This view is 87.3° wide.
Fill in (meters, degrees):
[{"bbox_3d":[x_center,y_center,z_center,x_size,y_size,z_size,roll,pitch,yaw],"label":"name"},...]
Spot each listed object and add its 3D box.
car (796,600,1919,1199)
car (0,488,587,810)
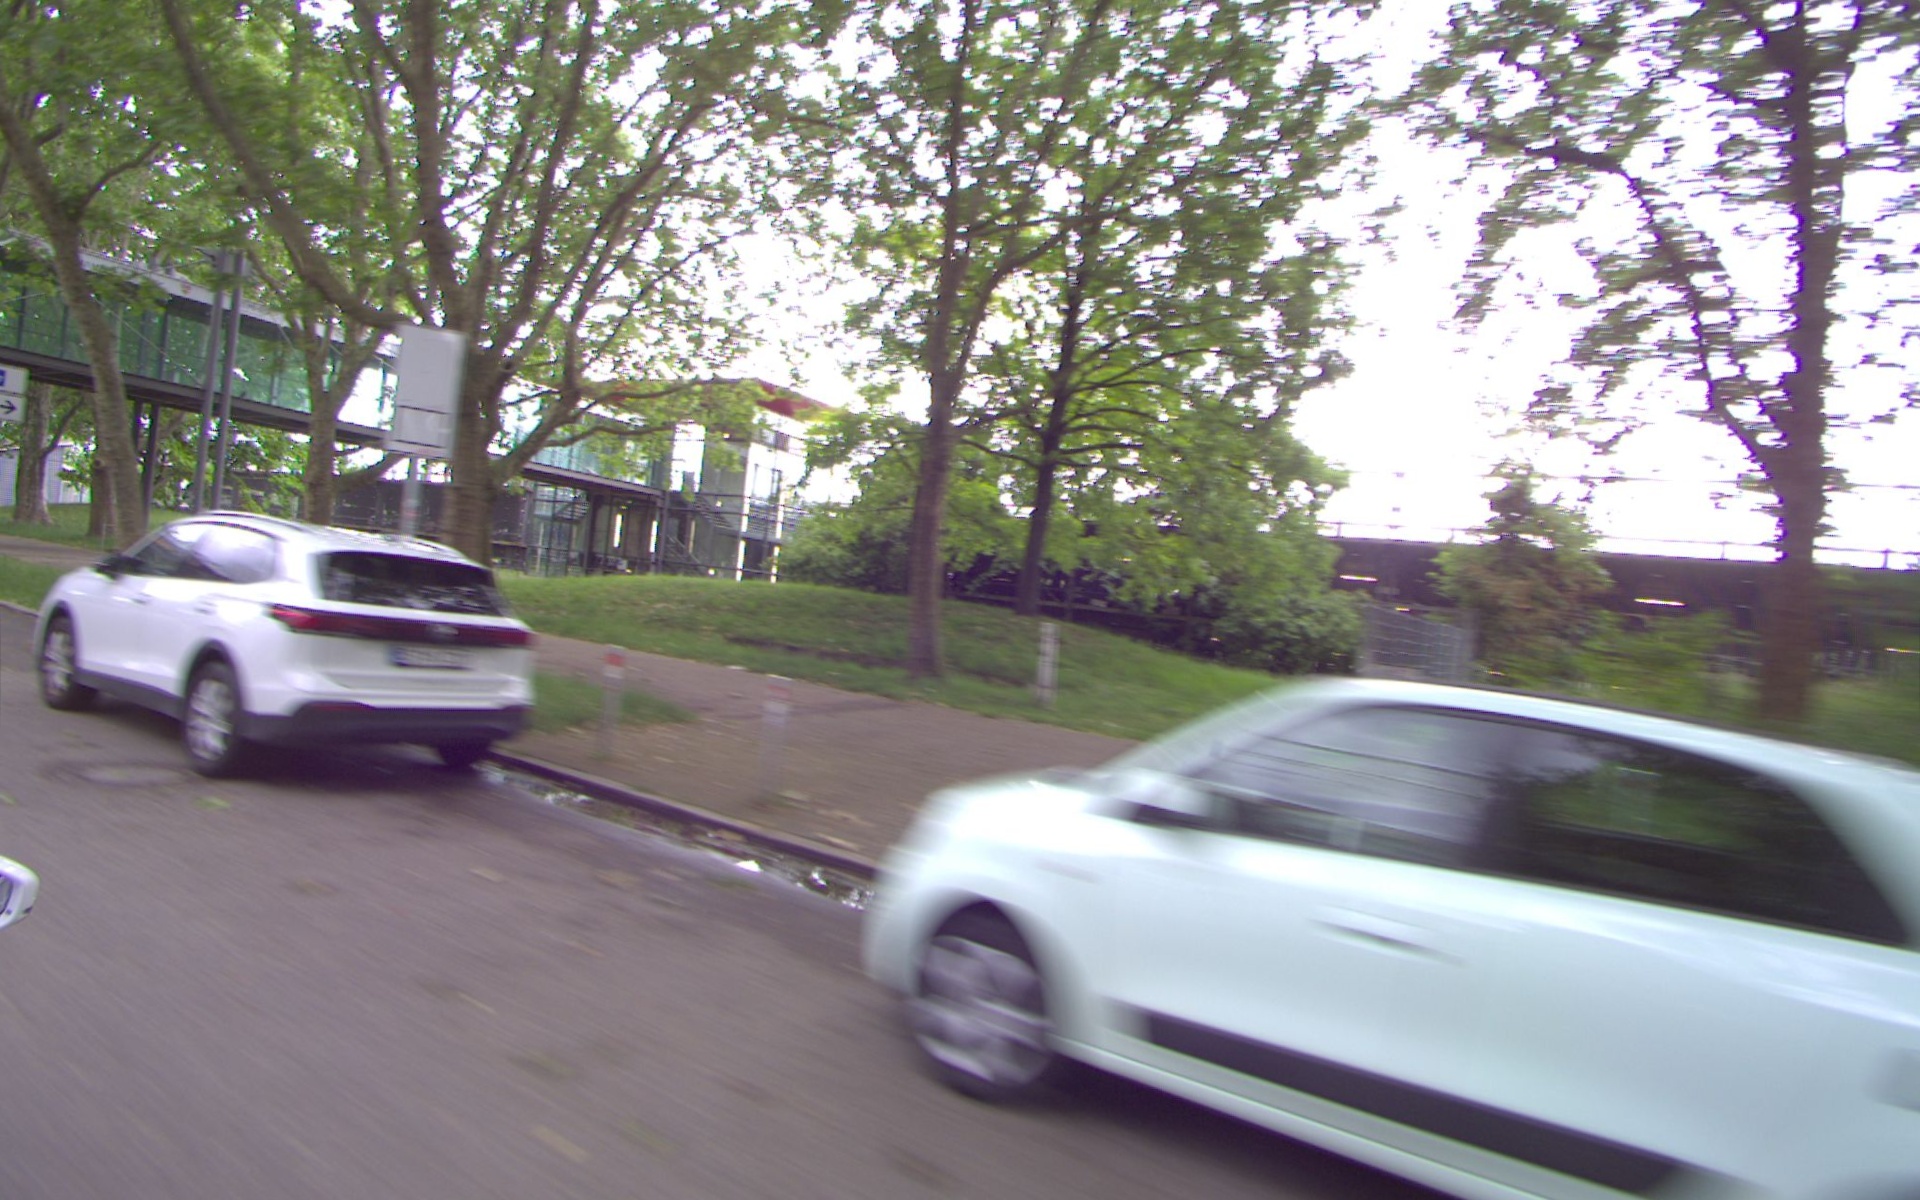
[{"bbox_3d":[1.649,1.024,3.343,4.028,1.545,1.810,6,0,32],"label":"car"},{"bbox_3d":[-5.219,0.204,7.640,4.671,1.638,1.916,6,0,32],"label":"car"}]
